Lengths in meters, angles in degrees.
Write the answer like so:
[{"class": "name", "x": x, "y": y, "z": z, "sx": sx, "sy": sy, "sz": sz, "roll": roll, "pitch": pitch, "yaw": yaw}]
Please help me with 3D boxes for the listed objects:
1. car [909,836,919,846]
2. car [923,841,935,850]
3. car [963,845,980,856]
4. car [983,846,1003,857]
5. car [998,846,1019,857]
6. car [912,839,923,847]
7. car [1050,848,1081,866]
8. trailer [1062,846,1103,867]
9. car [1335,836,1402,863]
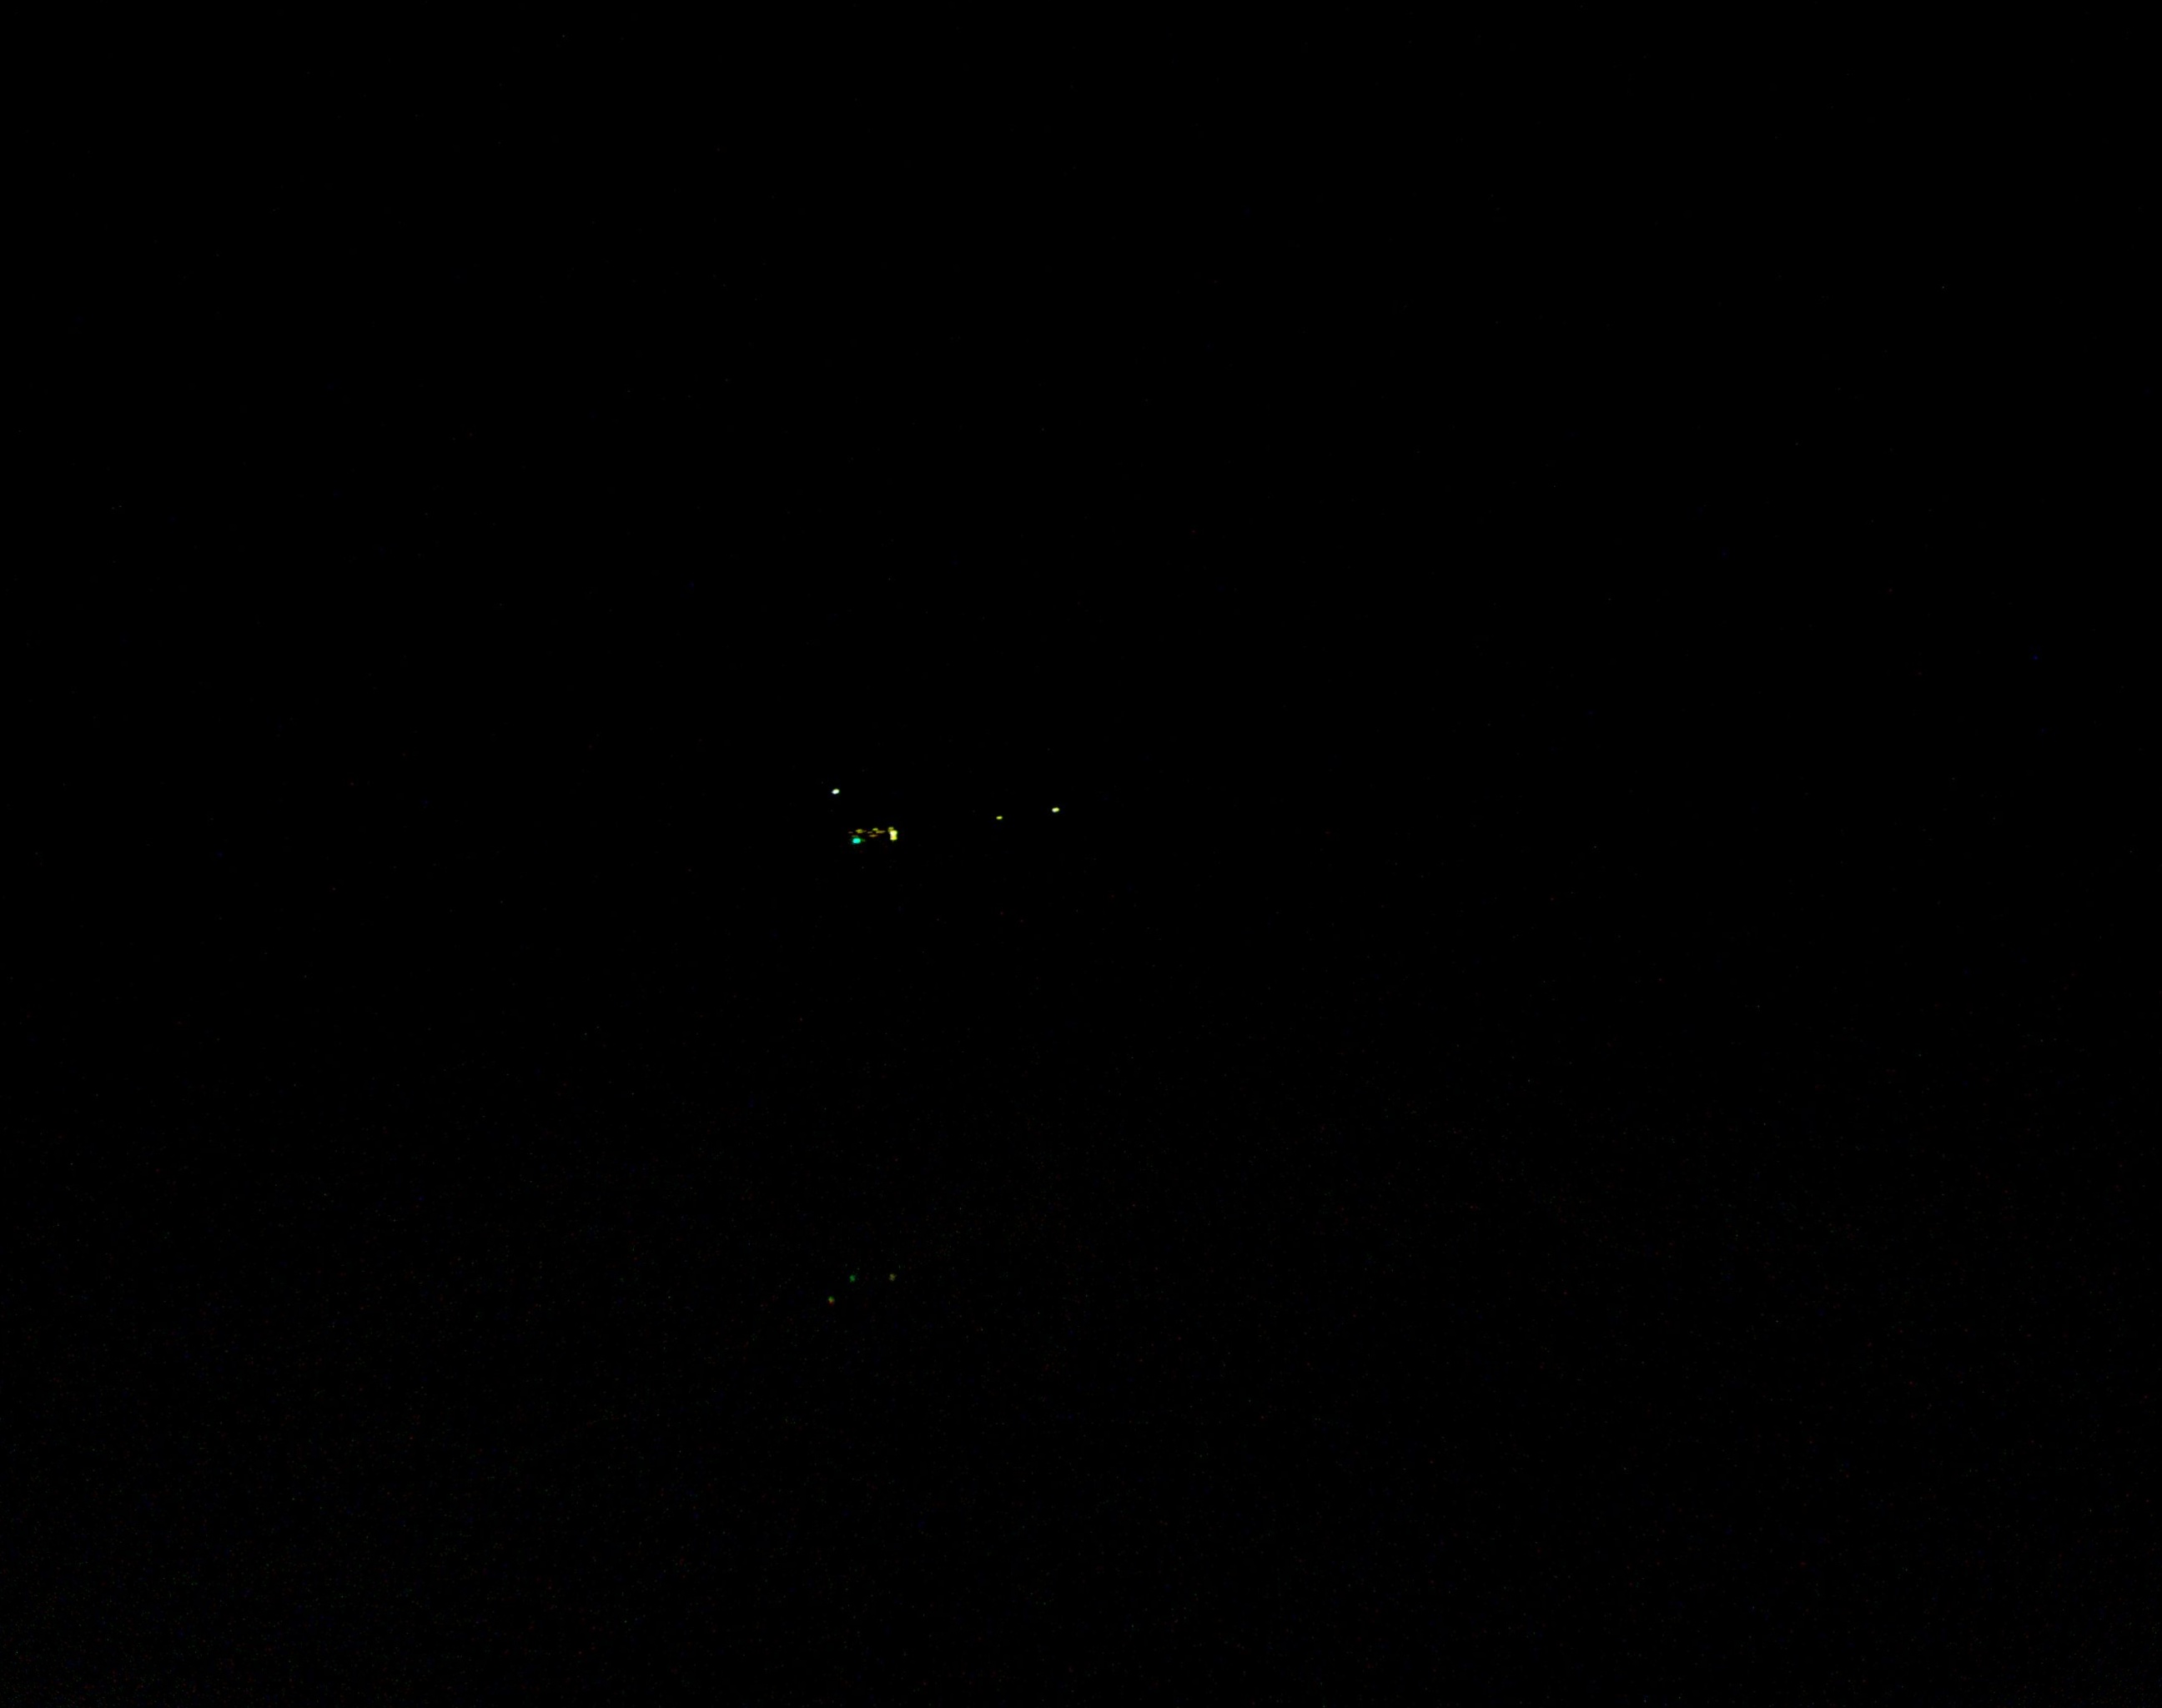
[{"class": "car", "x": -42.033, "y": -3.282, "z": 191.026, "sx": 2.168, "sy": 2.498, "sz": 4.712, "roll": 1, "pitch": 1, "yaw": -16}, {"class": "car", "x": -33.234, "y": -1.913, "z": 165.761, "sx": 2.128, "sy": 1.761, "sz": 4.712, "roll": 1, "pitch": 1, "yaw": -16}, {"class": "car", "x": -17.383, "y": -0.601, "z": 120.172, "sx": 1.771, "sy": 1.559, "sz": 4.684, "roll": 2, "pitch": 0, "yaw": -19}, {"class": "car", "x": -11.791, "y": -0.374, "z": 101.661, "sx": 1.908, "sy": 1.357, "sz": 4.975, "roll": 1, "pitch": 1, "yaw": -16}, {"class": "car", "x": -9.170, "y": -0.323, "z": 95.904, "sx": 1.735, "sy": 1.357, "sz": 4.137, "roll": 1, "pitch": 1, "yaw": -19}, {"class": "car", "x": -38.256, "y": -2.527, "z": 177.676, "sx": 2.128, "sy": 1.761, "sz": 4.712, "roll": 1, "pitch": 1, "yaw": -16}, {"class": "car", "x": -1.501, "y": 0.266, "z": 72.132, "sx": 1.724, "sy": 1.568, "sz": 4.526, "roll": 1, "pitch": 1, "yaw": -18}, {"class": "trailer", "x": 0.071, "y": 0.178, "z": 67.246, "sx": 2.033, "sy": 1.770, "sz": 5.664, "roll": 0, "pitch": 1, "yaw": -18}, {"class": "car", "x": 19.744, "y": -0.326, "z": 52.187, "sx": 4.002, "sy": 1.600, "sz": 1.754, "roll": -4, "pitch": 3, "yaw": -16}]
